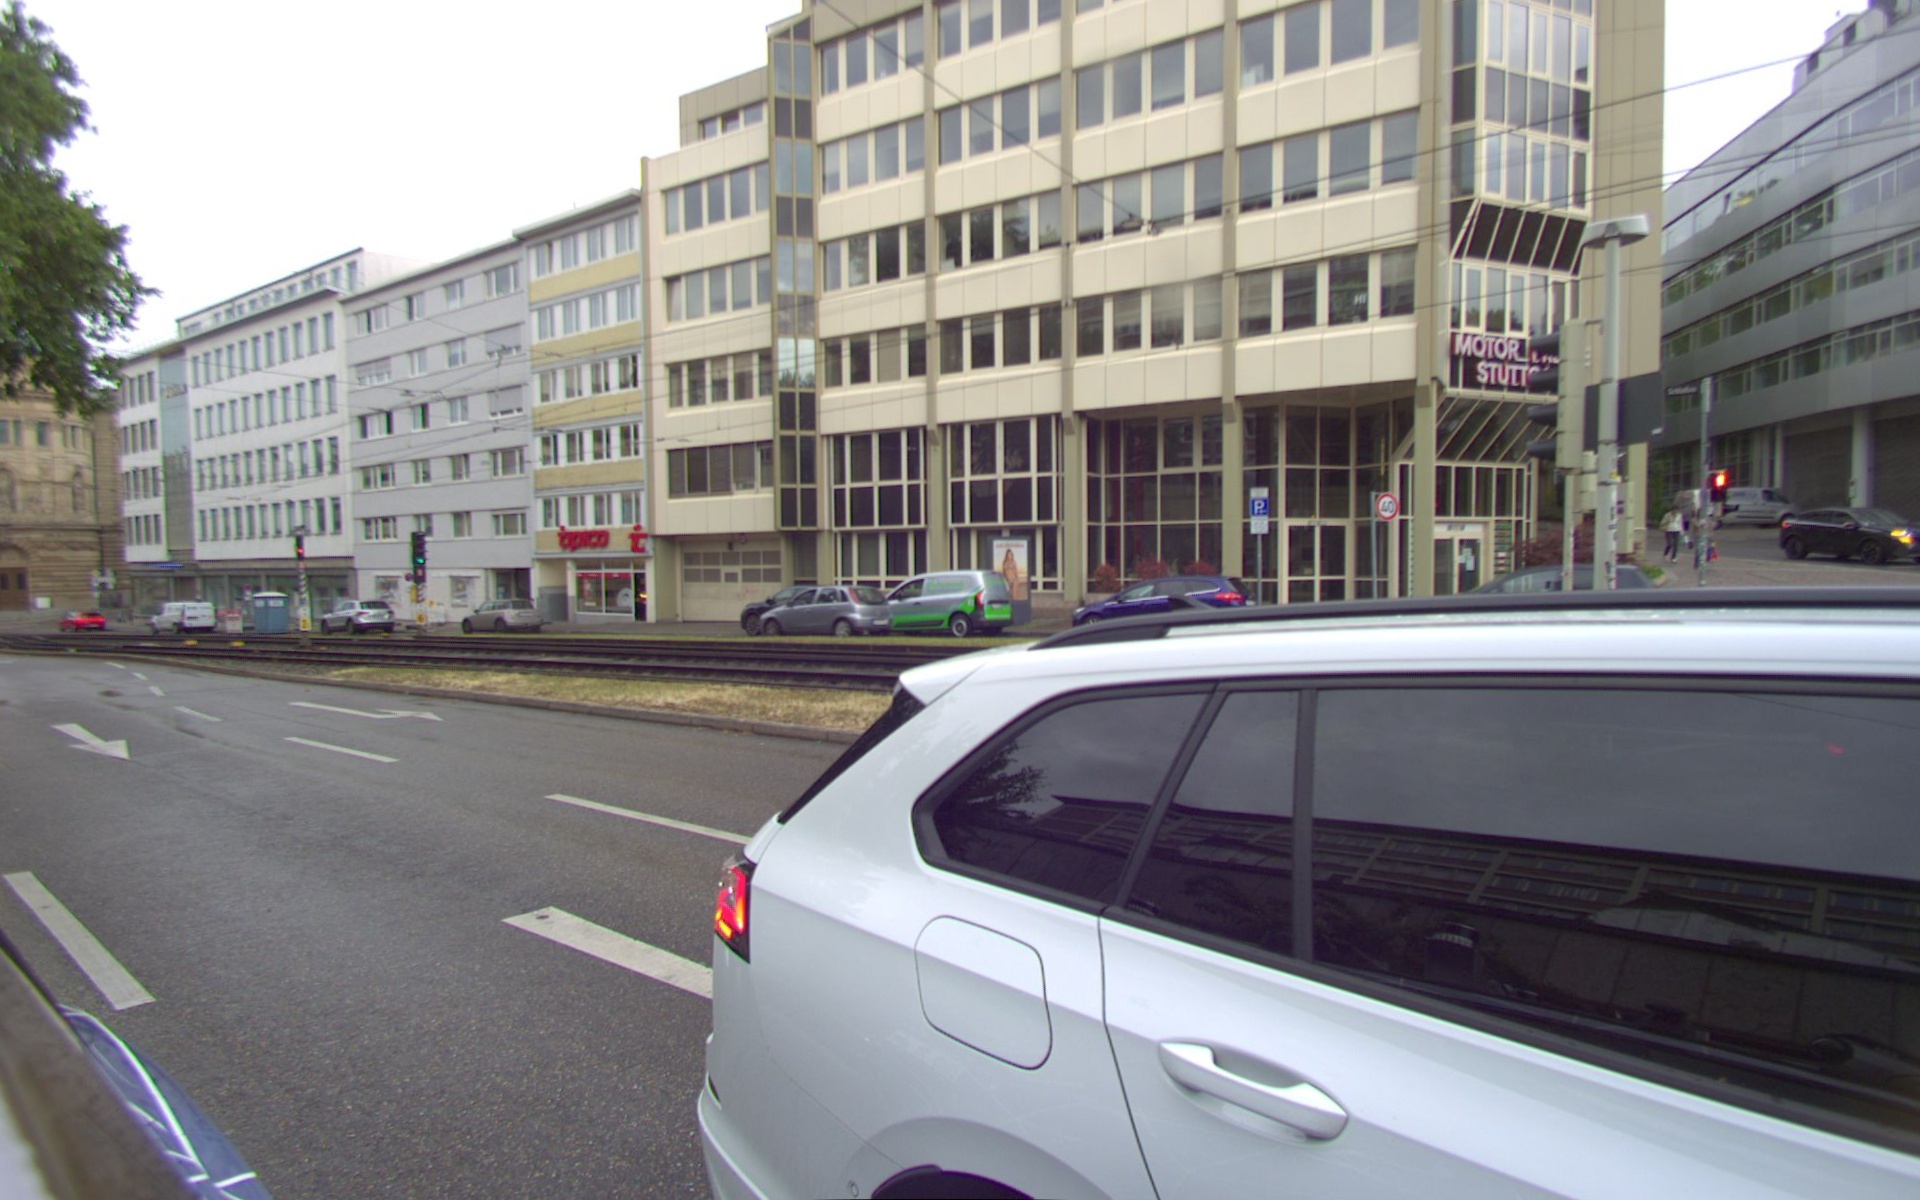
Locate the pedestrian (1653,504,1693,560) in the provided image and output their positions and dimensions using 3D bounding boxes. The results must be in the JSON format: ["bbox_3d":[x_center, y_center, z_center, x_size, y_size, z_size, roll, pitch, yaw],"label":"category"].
[{"bbox_3d":[21.556,-2.054,30.598,0.711,1.651,0.759,-2,3,6],"label":"pedestrian"}]

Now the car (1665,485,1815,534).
[{"bbox_3d":[37.620,-4.352,48.942,5.357,2.029,1.993,-1,0,12],"label":"car"}]

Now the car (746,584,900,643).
[{"bbox_3d":[-3.602,0.351,26.349,3.861,1.367,1.614,-1,2,34],"label":"car"}]

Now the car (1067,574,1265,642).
[{"bbox_3d":[4.811,0.189,23.854,4.207,1.488,1.780,-1,0,35],"label":"car"}]

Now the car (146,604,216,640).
[{"bbox_3d":[-46.557,1.282,60.456,4.465,1.949,1.869,-1,3,34],"label":"car"}]

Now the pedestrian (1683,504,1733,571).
[{"bbox_3d":[20.695,-1.729,28.017,0.821,1.800,0.759,-2,3,6],"label":"pedestrian"}]

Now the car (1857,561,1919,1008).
[{"bbox_3d":[5.294,0.573,2.563,4.473,1.453,1.777,-1,0,41],"label":"car"}]

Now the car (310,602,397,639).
[{"bbox_3d":[-28.317,0.943,47.213,4.066,1.524,1.869,-1,3,34],"label":"car"}]

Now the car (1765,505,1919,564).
[{"bbox_3d":[27.524,-2.055,31.016,1.974,1.591,4.884,-2,5,3],"label":"car"}]

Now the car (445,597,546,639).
[{"bbox_3d":[-18.719,0.718,40.713,4.066,1.524,1.782,-1,3,34],"label":"car"}]

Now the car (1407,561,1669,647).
[{"bbox_3d":[10.150,0.070,17.915,3.861,1.367,1.614,-1,2,34],"label":"car"}]

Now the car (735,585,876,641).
[{"bbox_3d":[-4.723,0.375,30.758,4.066,1.524,1.782,-1,3,34],"label":"car"}]

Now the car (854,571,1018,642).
[{"bbox_3d":[-0.681,0.166,27.869,4.204,1.759,1.782,-1,2,33],"label":"car"}]

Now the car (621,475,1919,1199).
[{"bbox_3d":[1.605,0.621,1.165,4.473,1.453,1.777,-1,0,41],"label":"car"}]

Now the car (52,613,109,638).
[{"bbox_3d":[-62.215,1.771,71.561,4.465,1.636,1.869,-1,3,34],"label":"car"}]
